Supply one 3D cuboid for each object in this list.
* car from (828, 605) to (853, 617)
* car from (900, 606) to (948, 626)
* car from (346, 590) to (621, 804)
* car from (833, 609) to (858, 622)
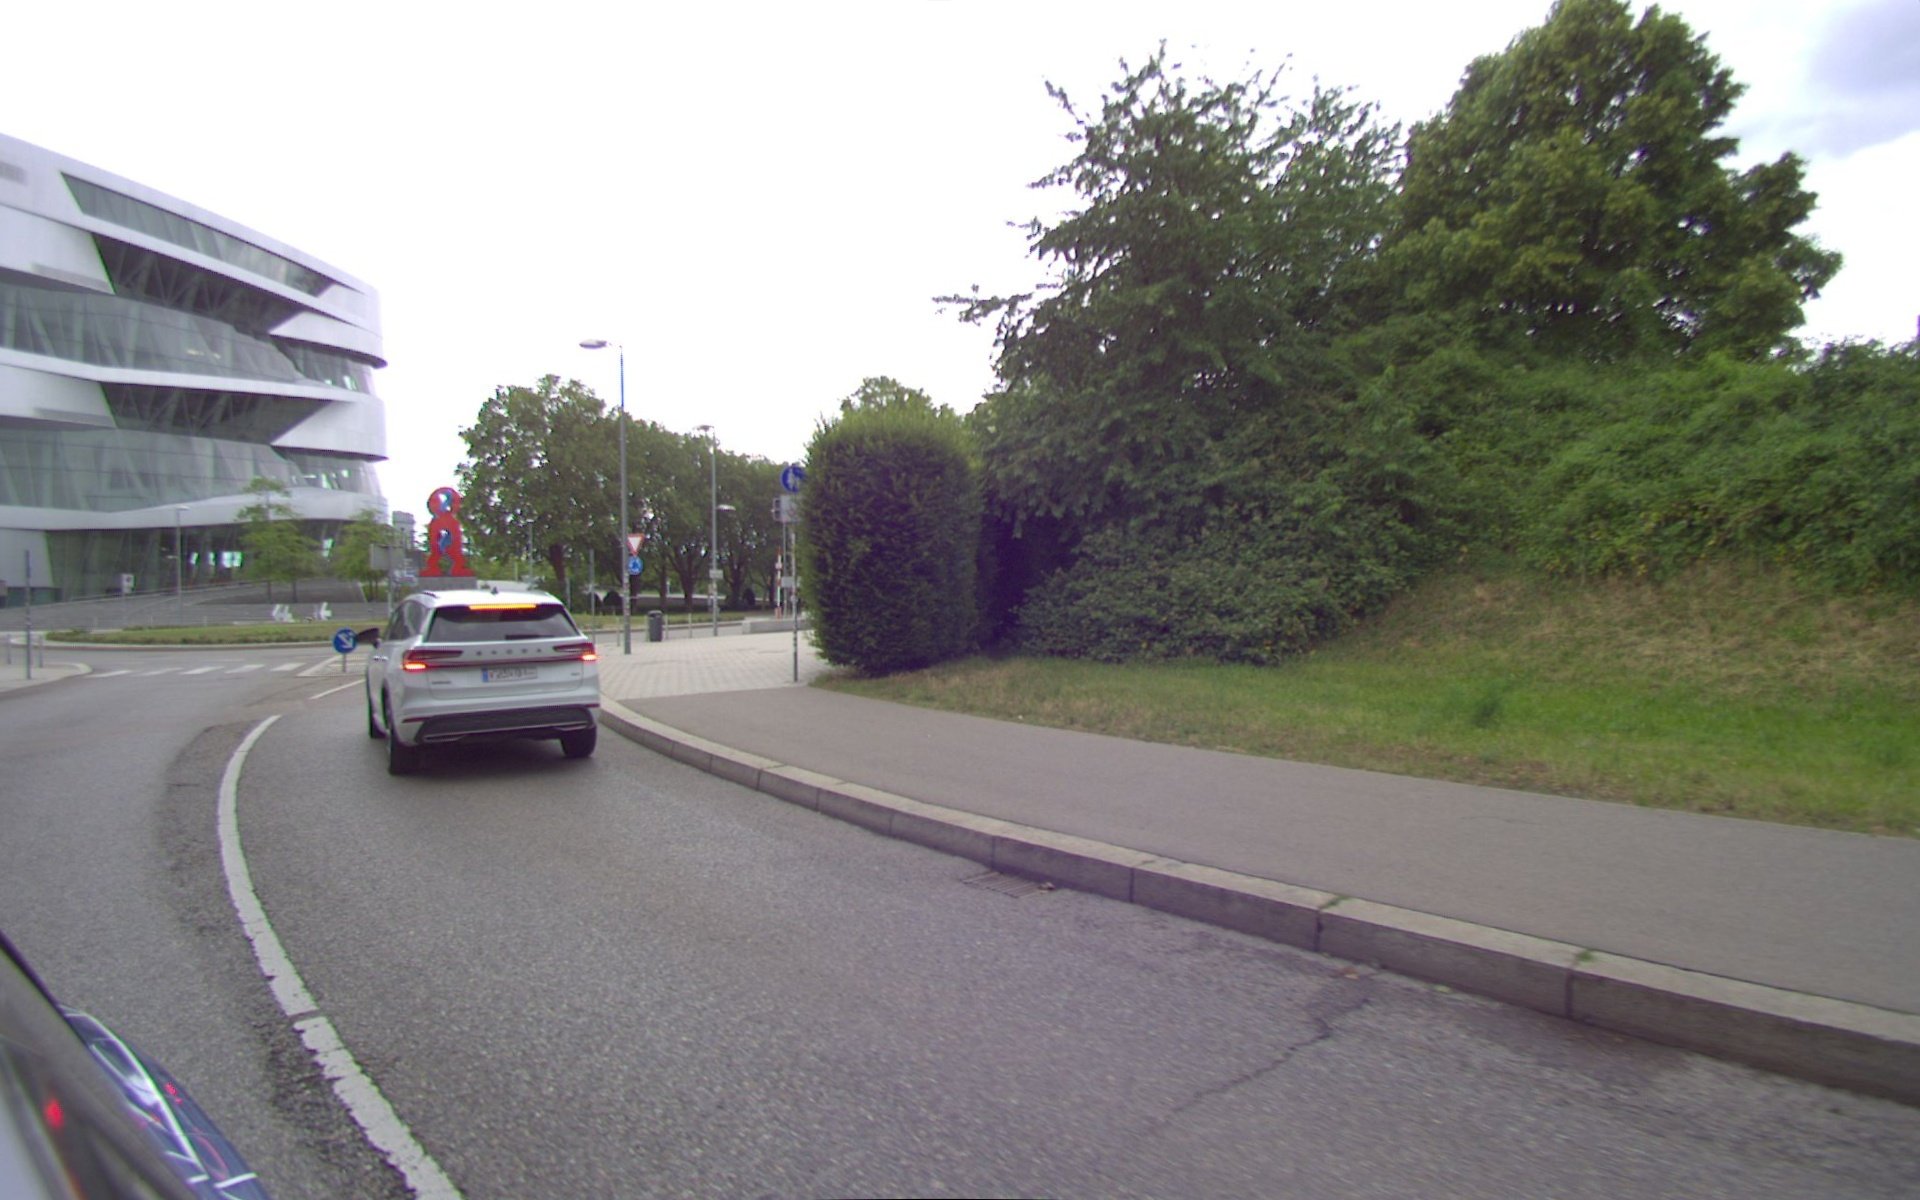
[{"bbox_3d":[-17.747,1.603,150.358,3.410,1.697,1.684,-1,0,9],"label":"car"},{"bbox_3d":[-3.075,1.325,85.846,3.782,1.536,1.774,-2,-2,9],"label":"car"},{"bbox_3d":[-5.102,0.858,10.456,1.839,1.696,4.416,-1,-2,-35],"label":"car"},{"bbox_3d":[-17.461,2.326,154.450,3.423,1.863,1.677,-1,0,19],"label":"car"}]
